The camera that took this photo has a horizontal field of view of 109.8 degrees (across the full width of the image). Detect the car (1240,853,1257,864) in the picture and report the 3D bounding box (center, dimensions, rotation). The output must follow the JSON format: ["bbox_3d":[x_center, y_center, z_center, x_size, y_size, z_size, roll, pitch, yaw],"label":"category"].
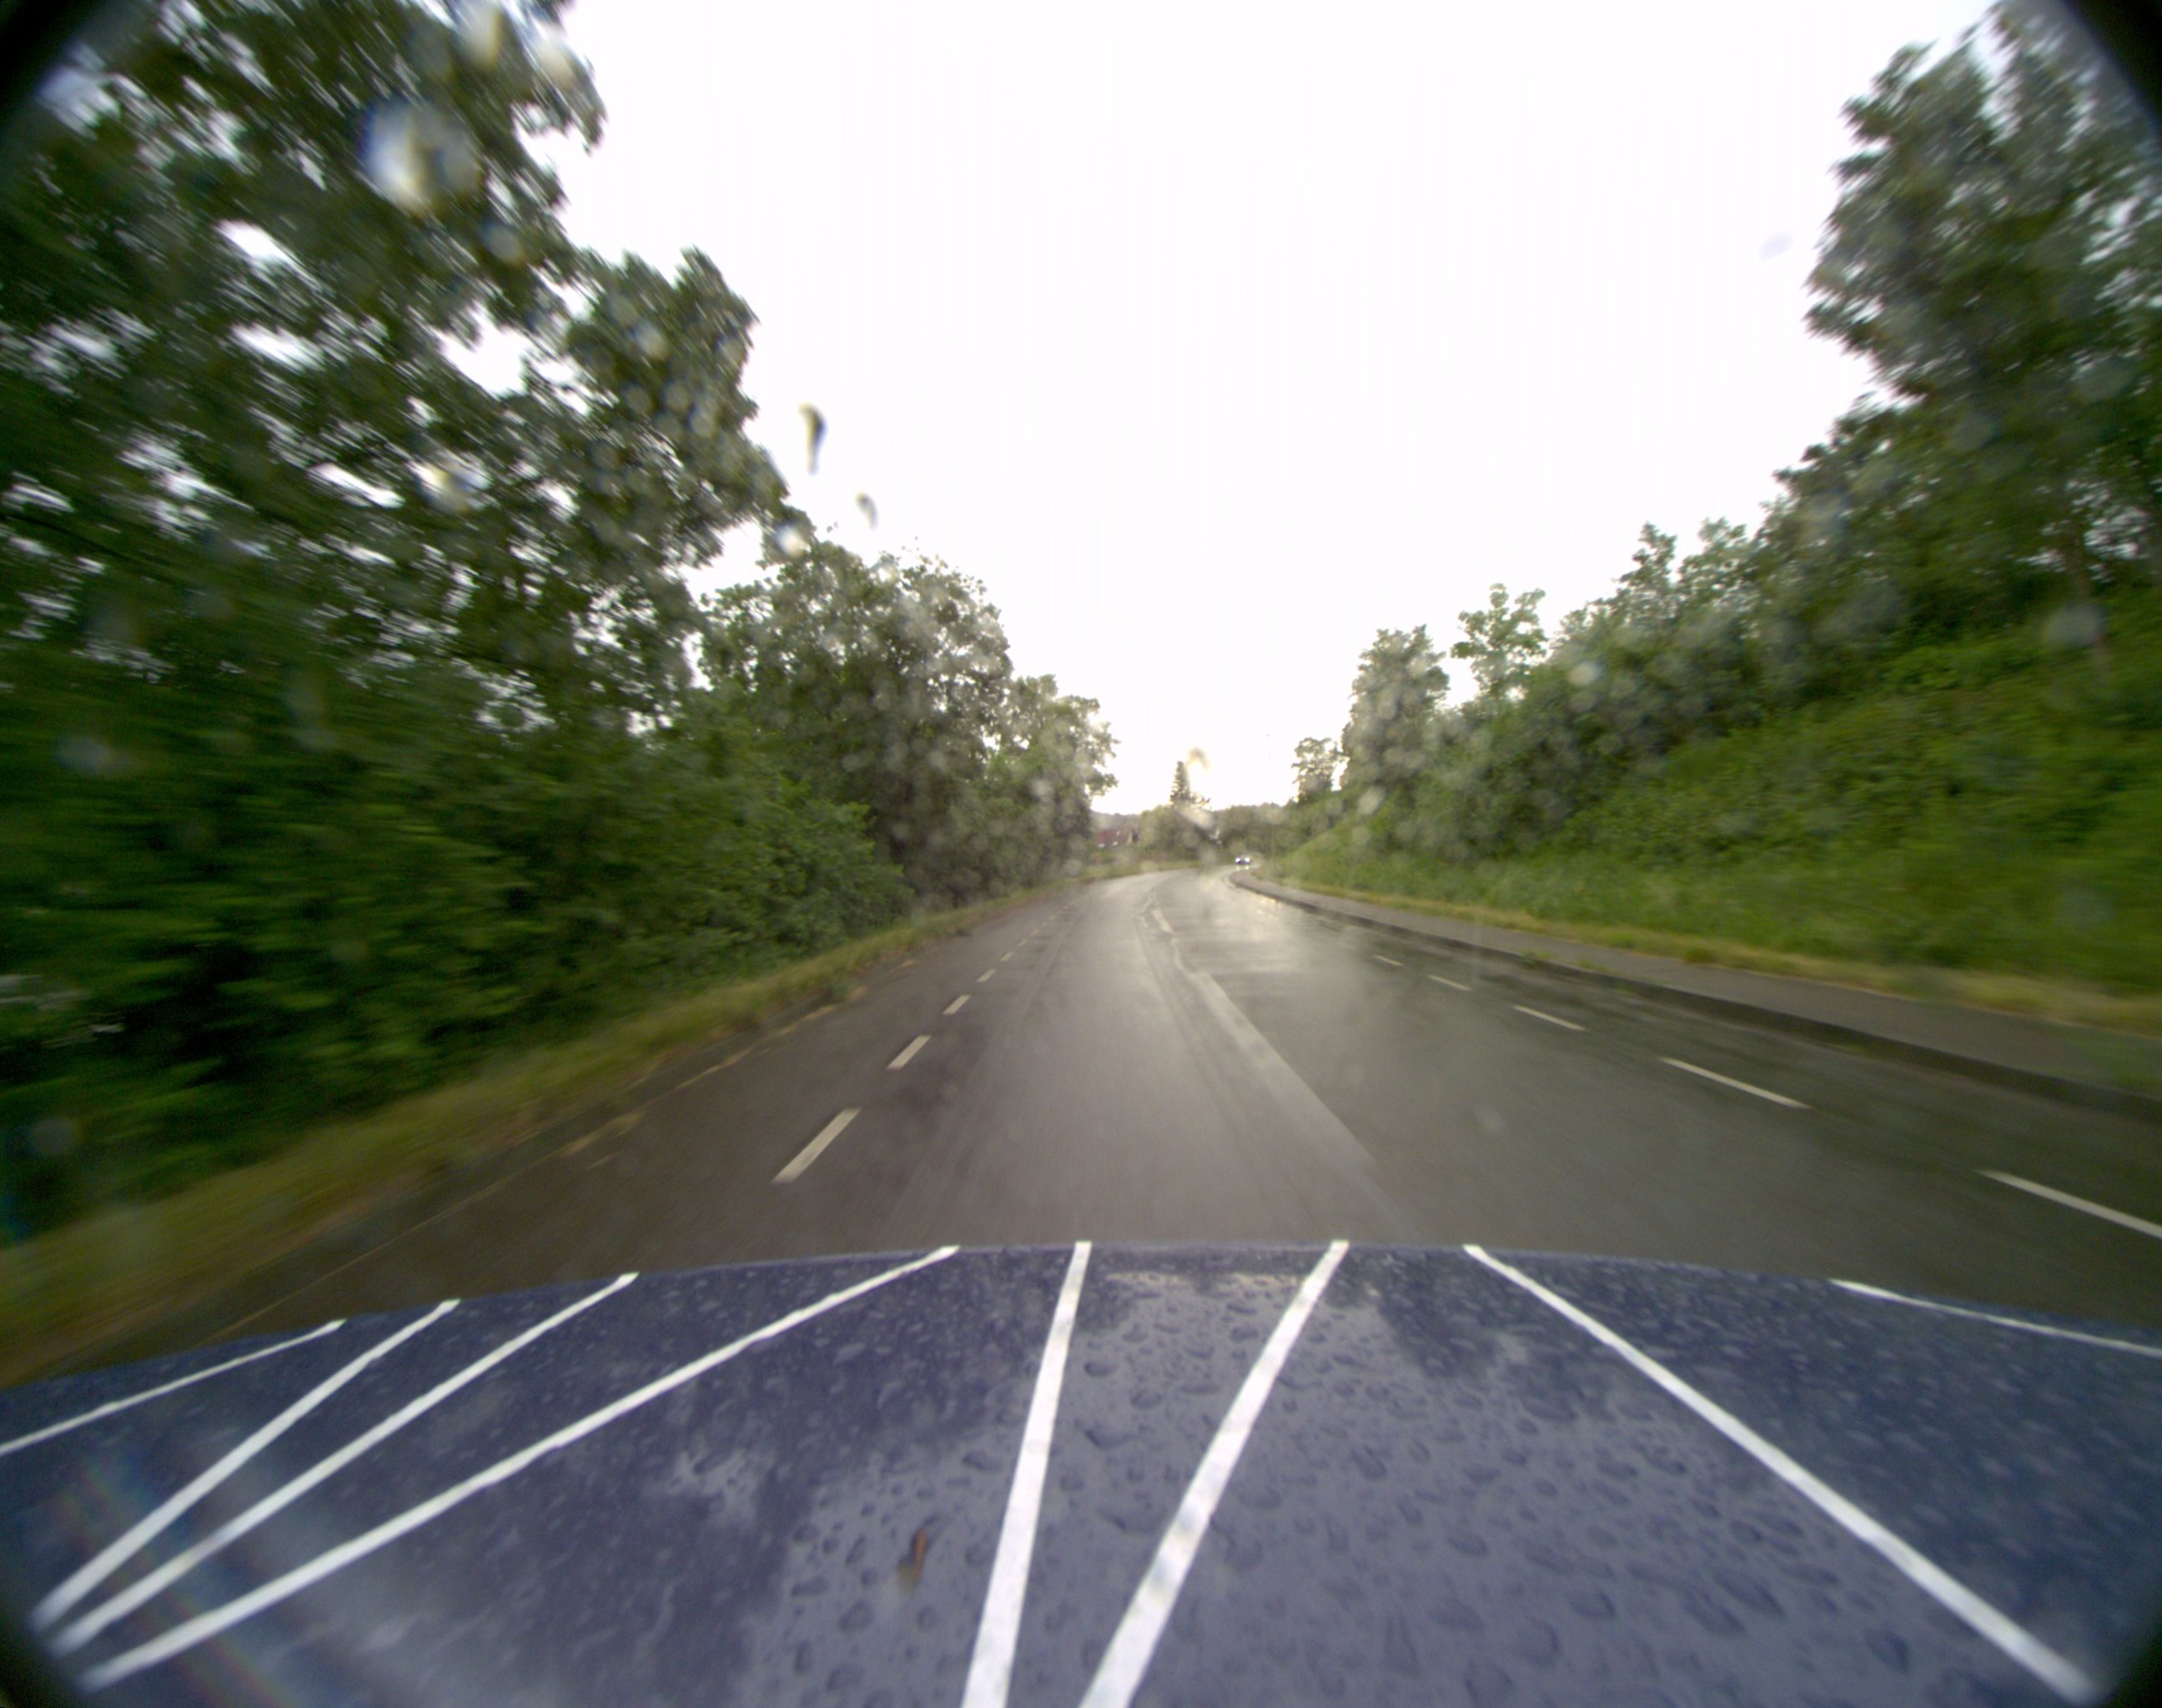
[{"bbox_3d":[25.387,0.691,114.861,1.876,1.596,4.006,0,0,23],"label":"car"}]
